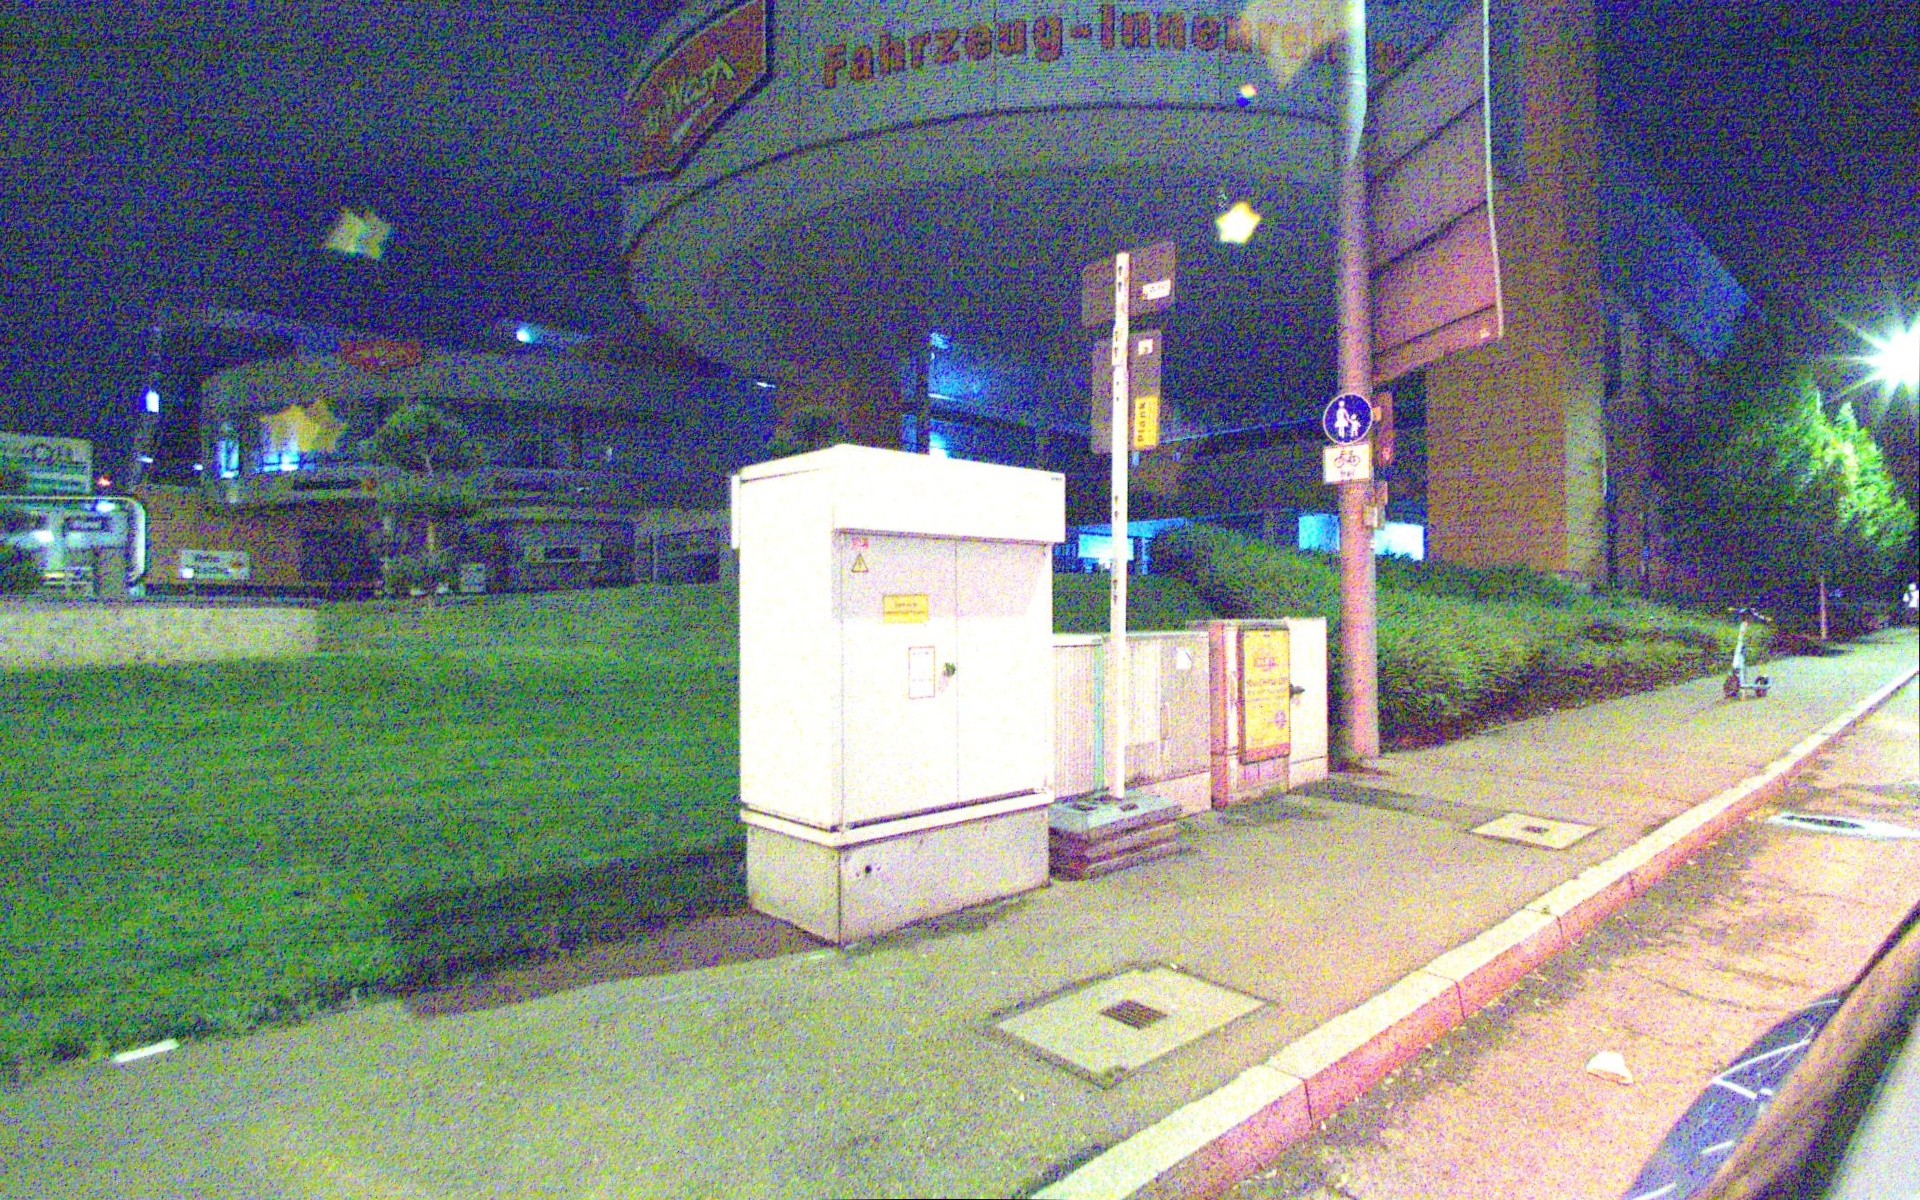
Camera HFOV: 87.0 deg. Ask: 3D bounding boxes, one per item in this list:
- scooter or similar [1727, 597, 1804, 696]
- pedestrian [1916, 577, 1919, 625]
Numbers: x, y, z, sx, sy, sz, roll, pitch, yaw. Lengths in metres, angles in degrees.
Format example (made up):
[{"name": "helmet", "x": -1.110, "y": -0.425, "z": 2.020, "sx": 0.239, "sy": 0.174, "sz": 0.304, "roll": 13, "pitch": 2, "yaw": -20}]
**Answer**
[{"name": "scooter or similar", "x": 11.208, "y": 0.616, "z": 14.073, "sx": 1.367, "sy": 1.295, "sz": 0.569, "roll": 0, "pitch": 1, "yaw": -41}, {"name": "pedestrian", "x": 37.265, "y": 0.046, "z": 38.791, "sx": 0.597, "sy": 1.842, "sz": 0.824, "roll": -1, "pitch": 0, "yaw": -40}]
